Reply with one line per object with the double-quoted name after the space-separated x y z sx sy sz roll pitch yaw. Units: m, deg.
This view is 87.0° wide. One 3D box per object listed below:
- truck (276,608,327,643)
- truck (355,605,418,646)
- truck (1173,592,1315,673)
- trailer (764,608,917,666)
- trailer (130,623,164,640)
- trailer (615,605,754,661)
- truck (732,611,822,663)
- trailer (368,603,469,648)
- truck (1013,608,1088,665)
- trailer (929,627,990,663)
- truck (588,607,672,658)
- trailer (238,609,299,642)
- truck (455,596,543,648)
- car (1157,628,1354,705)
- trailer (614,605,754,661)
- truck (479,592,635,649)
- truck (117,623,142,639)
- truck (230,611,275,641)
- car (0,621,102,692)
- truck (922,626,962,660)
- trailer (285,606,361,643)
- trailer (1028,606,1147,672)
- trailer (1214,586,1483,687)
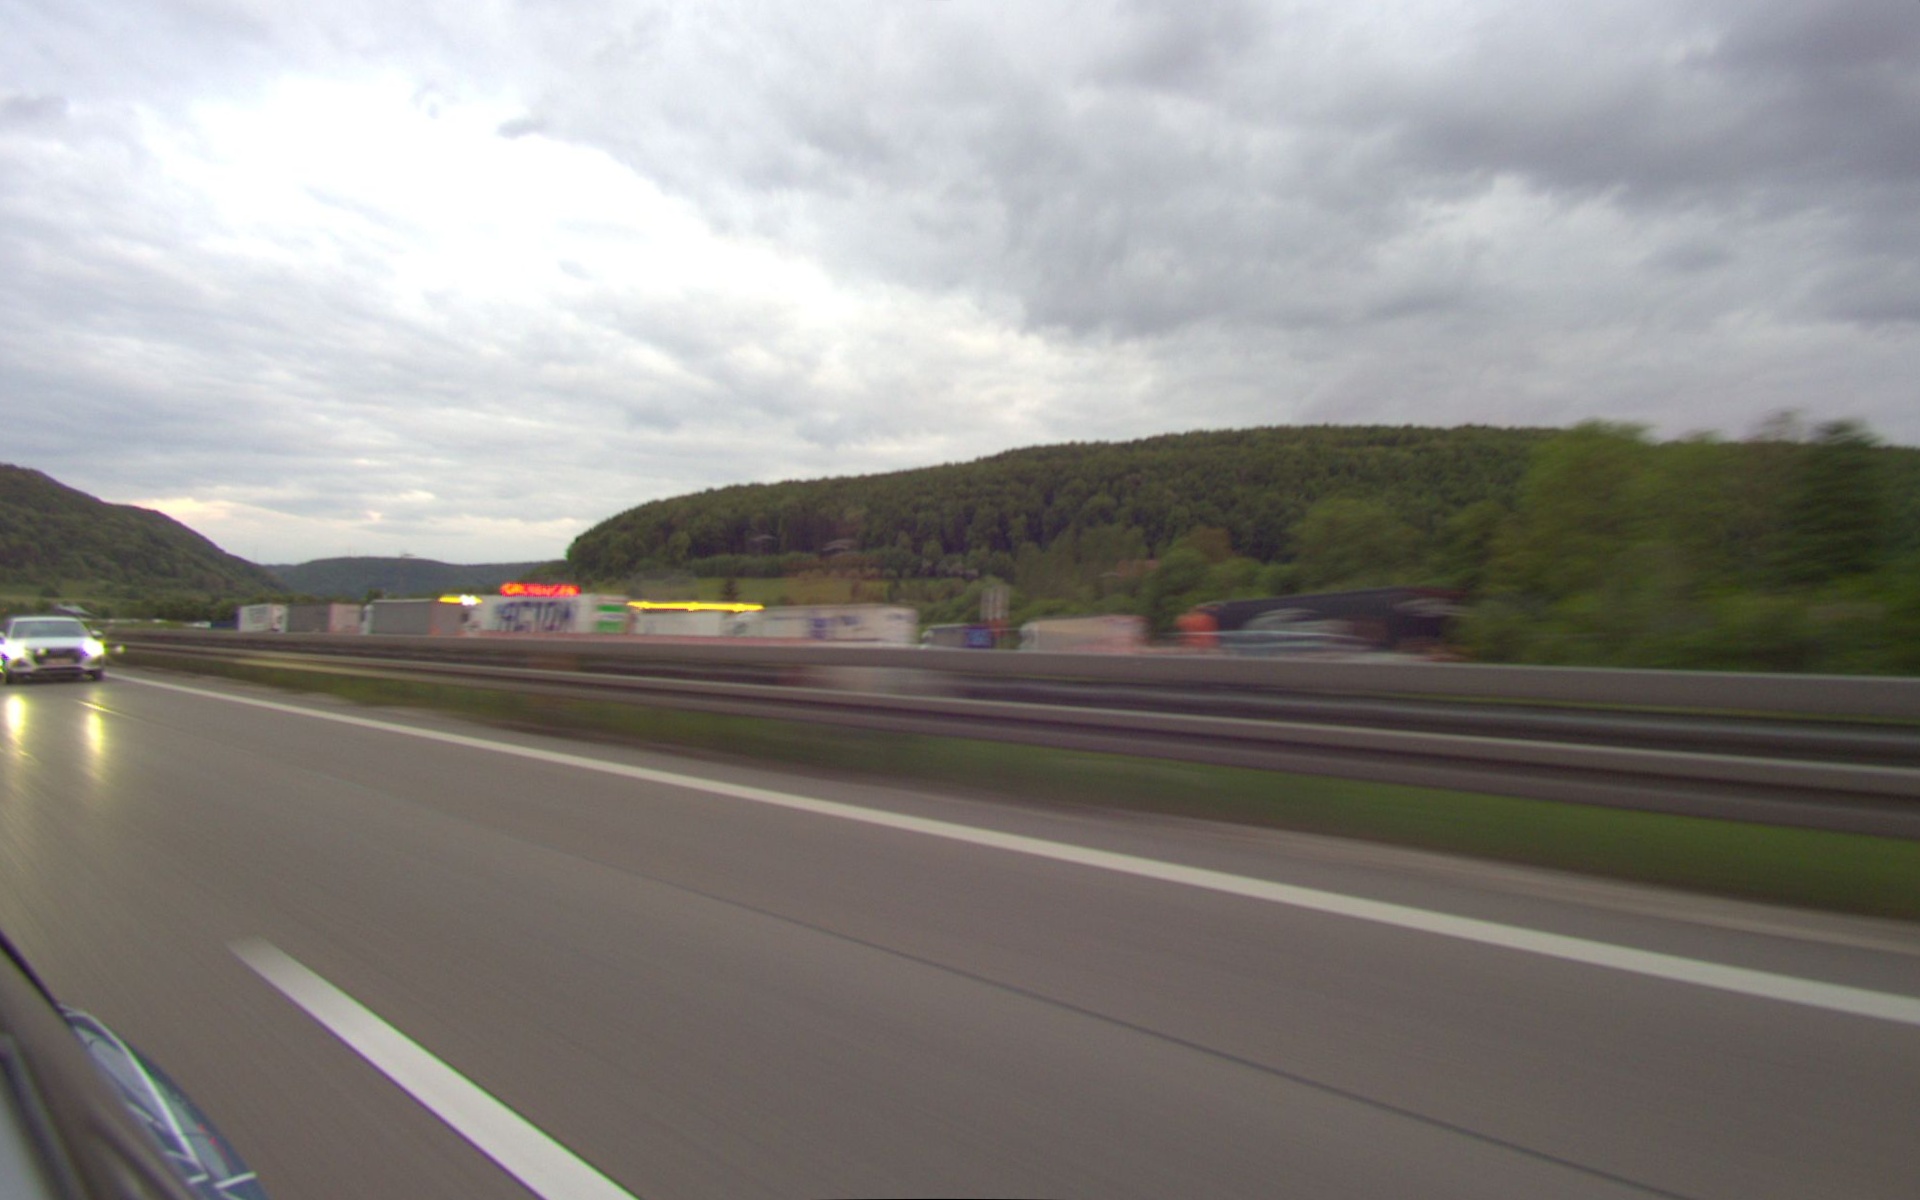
-68.220 2.631 104.746 6.725 3.451 2.842 -2 -1 42 "truck"
-49.824 2.233 87.882 6.725 3.451 2.842 -2 -2 43 "truck"
13.933 1.580 50.527 2.962 3.707 7.702 0 -1 -18 "truck"
-8.483 2.523 69.936 12.713 3.707 2.843 -2 -1 42 "trailer"
-147.540 5.673 183.598 11.151 3.112 2.838 -1 -2 40 "trailer"
-22.959 2.667 83.224 15.942 4.292 2.986 -2 -2 42 "trailer"
-13.547 2.675 74.573 7.027 3.668 2.842 -2 -2 43 "truck"
-44.624 2.085 83.111 13.847 3.451 2.842 -2 -1 42 "trailer"
6.823 2.800 77.869 3.235 4.137 8.238 1 -2 -14 "truck"
-0.249 4.510 104.136 2.891 3.546 13.456 1 -2 -15 "trailer"
-28.947 2.794 88.633 8.862 4.292 2.986 -2 -2 42 "truck"
-77.491 2.845 113.281 13.223 3.451 2.842 -2 -1 43 "trailer"
-32.395 1.536 70.989 6.716 3.451 2.846 -2 -1 38 "truck"
6.036 1.304 20.853 3.534 1.432 1.624 -1 -1 41 "car"
-22.972 2.666 83.209 15.942 4.292 2.986 -2 -2 42 "trailer"
-26.766 1.395 66.643 13.767 3.451 2.847 -2 -1 37 "truck"
-158.531 5.896 193.173 5.303 3.112 2.836 -1 -2 42 "truck"
-82.492 3.022 117.946 7.174 3.401 2.842 -2 -2 43 "truck"
-22.281 1.299 24.391 5.036 1.512 1.770 -2 -1 42 "car"
-2.009 4.663 110.670 2.891 3.546 6.731 1 -2 -15 "truck"
-63.104 2.472 100.047 13.568 3.451 2.842 -2 -1 42 "trailer"
8.554 2.645 70.840 3.235 4.137 14.484 1 -2 -14 "trailer"
16.102 1.472 43.994 3.019 3.707 13.384 0 -1 -19 "trailer"
